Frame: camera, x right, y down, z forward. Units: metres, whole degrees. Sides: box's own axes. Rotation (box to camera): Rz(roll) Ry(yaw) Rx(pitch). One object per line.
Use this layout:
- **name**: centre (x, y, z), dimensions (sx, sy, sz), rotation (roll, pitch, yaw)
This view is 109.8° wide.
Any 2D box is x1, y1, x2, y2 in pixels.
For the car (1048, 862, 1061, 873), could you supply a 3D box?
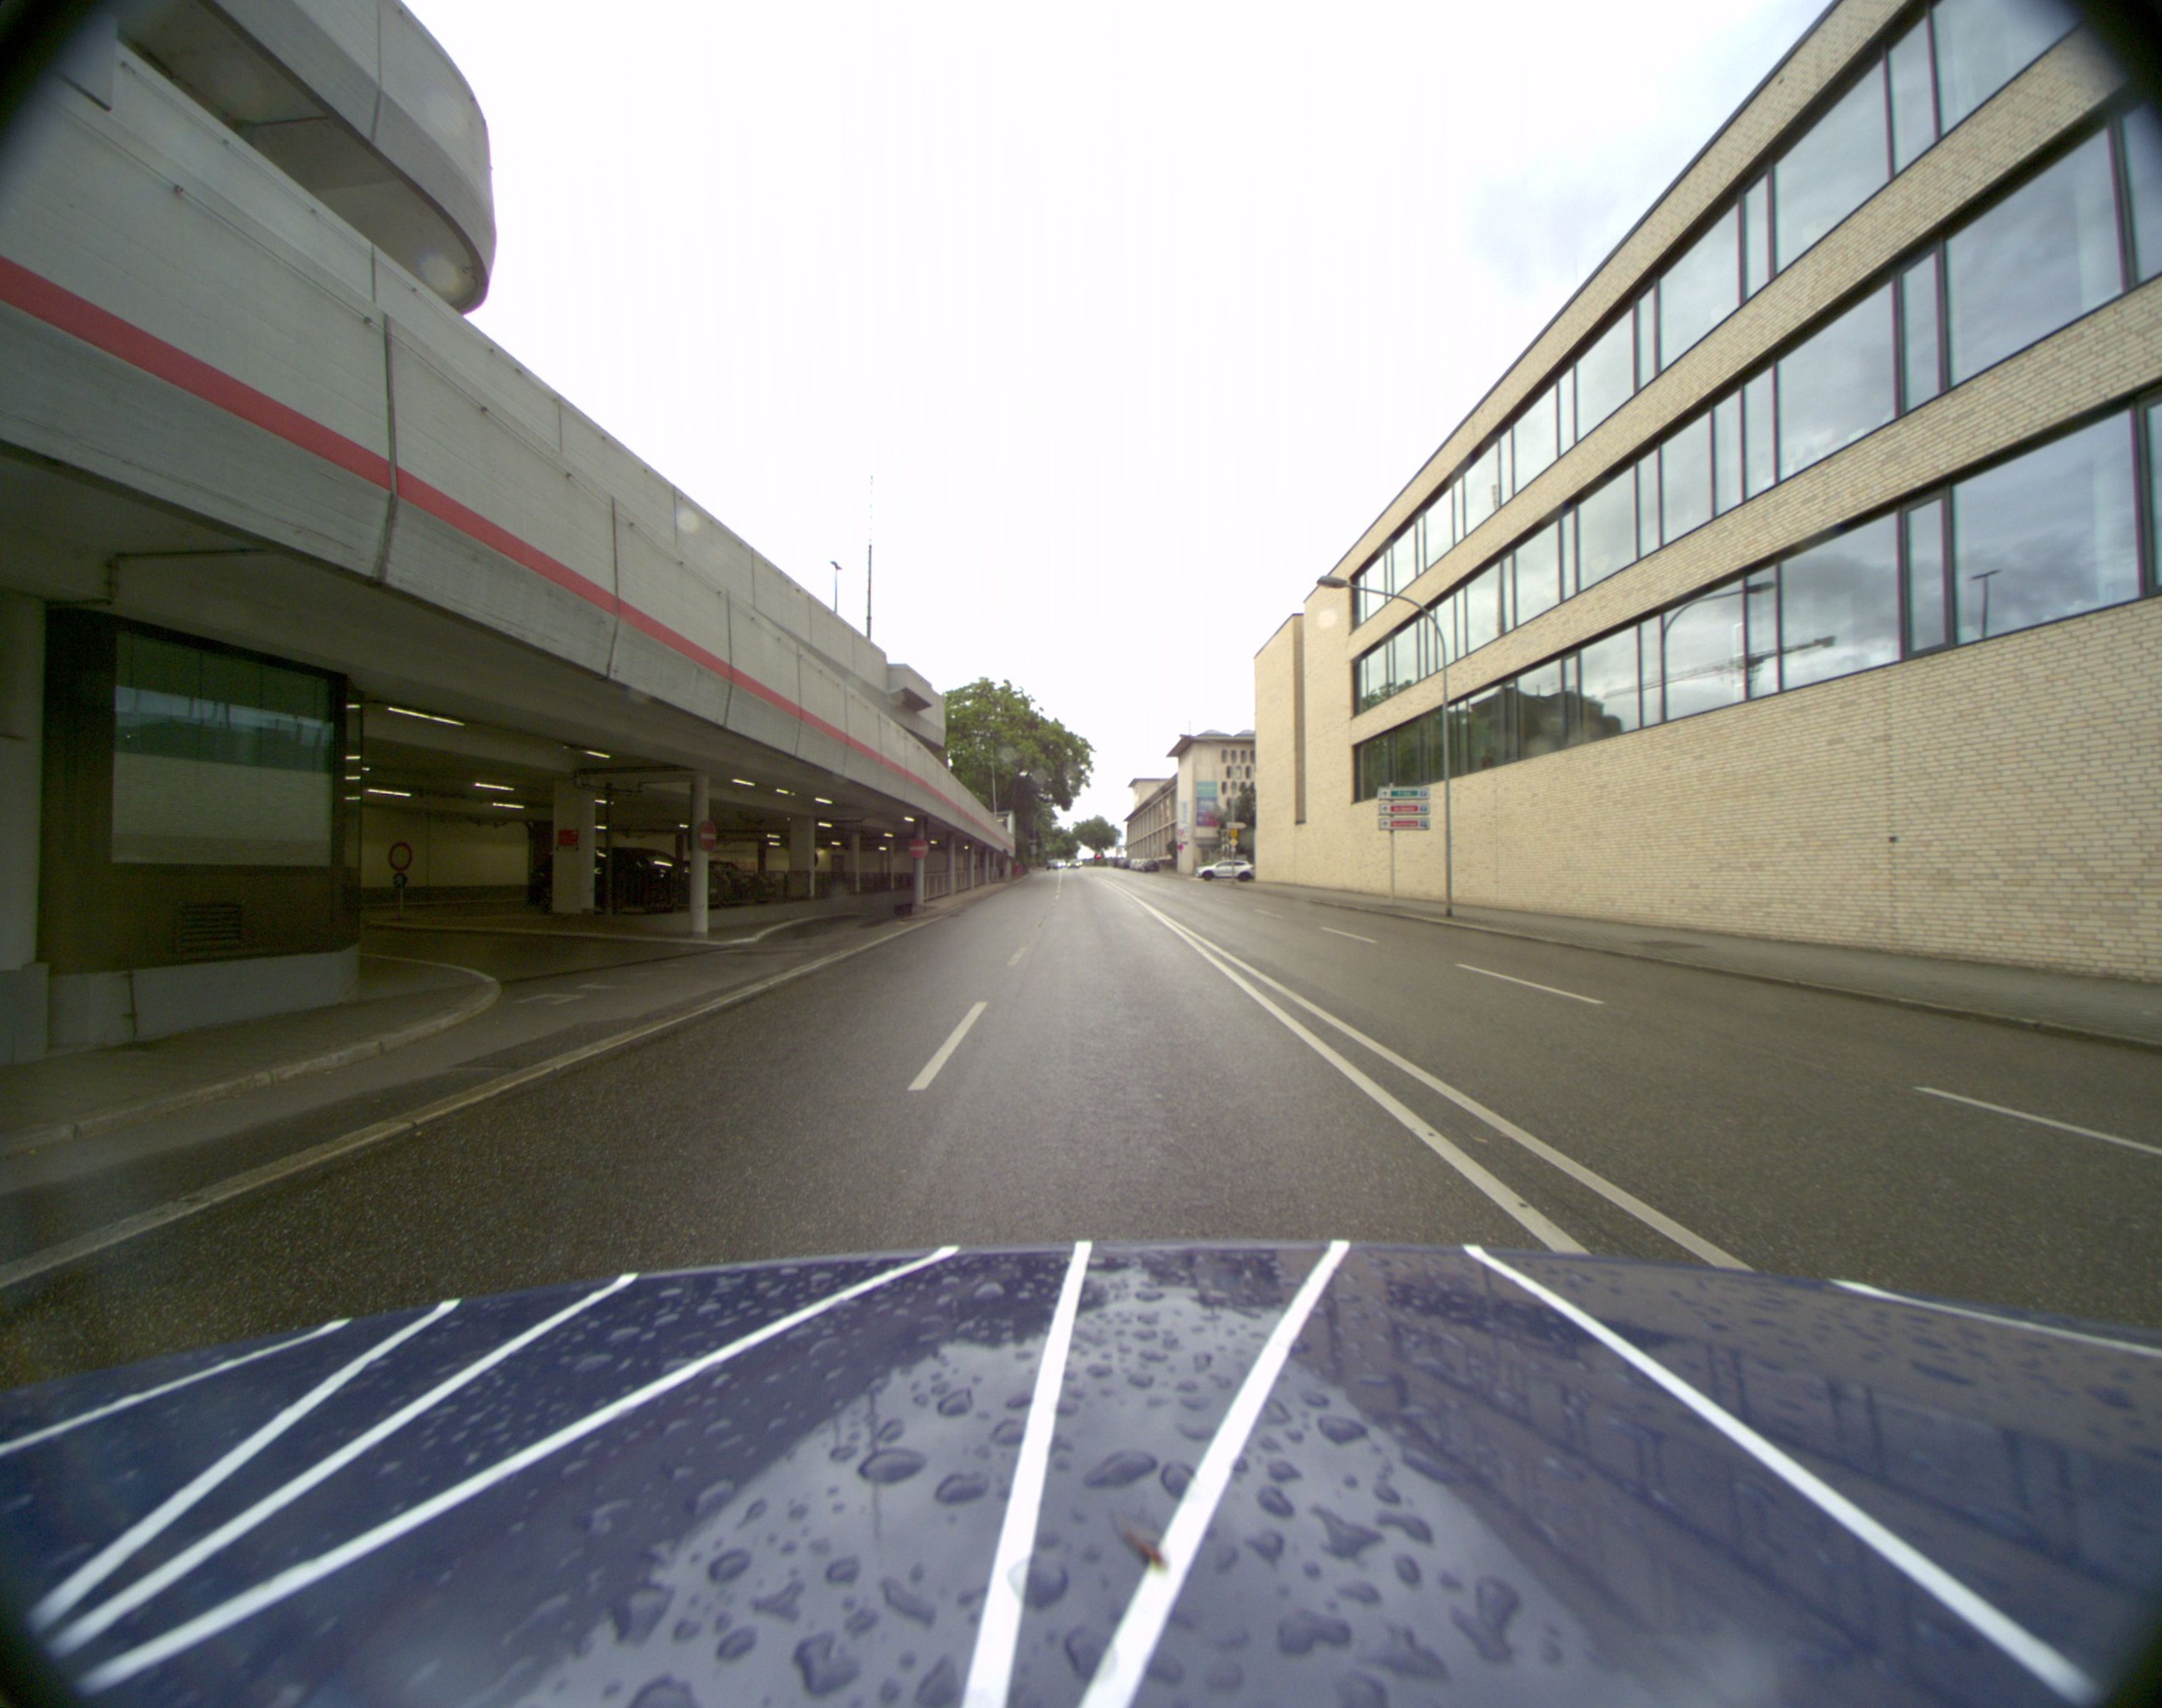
- **car**: centre (-3.884, 1.974, 111.344), dimensions (1.683, 1.516, 3.990), rotation (-2, -1, 1)

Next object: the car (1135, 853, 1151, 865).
- **car**: centre (8.272, 0.625, 101.642), dimensions (1.800, 1.516, 4.056), rotation (-2, -1, 1)

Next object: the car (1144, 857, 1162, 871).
- **car**: centre (8.590, 1.195, 91.042), dimensions (1.800, 1.516, 4.056), rotation (-2, -1, 1)

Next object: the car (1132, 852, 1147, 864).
- **car**: centre (8.155, 0.573, 106.720), dimensions (1.800, 1.516, 4.056), rotation (-2, -1, 1)

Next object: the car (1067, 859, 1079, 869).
- **car**: centre (-1.245, 1.556, 122.450), dimensions (1.852, 1.516, 3.990), rotation (-2, -1, 1)

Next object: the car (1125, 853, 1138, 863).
- **car**: centre (8.114, 0.662, 121.761), dimensions (1.800, 1.516, 4.056), rotation (-2, -1, 1)

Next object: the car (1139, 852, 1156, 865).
- **car**: centre (8.384, 0.541, 96.504), dimensions (1.800, 1.516, 4.056), rotation (-2, -1, 1)

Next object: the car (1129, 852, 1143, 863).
- **car**: centre (8.142, 0.507, 112.724), dimensions (1.800, 1.516, 4.056), rotation (-2, -1, 1)

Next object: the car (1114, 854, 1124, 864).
- **car**: centre (7.101, 0.955, 142.462), dimensions (1.698, 1.715, 3.756), rotation (-2, 1, 1)

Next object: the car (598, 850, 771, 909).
- **car**: centre (-11.917, 0.826, 22.998), dimensions (4.251, 1.650, 2.003), rotation (-1, -4, 10)

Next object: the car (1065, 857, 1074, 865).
- **car**: centre (-2.321, 1.496, 159.269), dimensions (1.727, 1.628, 3.999), rotation (-2, 1, 1)

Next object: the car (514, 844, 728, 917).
- **car**: centre (-11.386, 0.702, 18.974), dimensions (4.251, 1.650, 2.003), rotation (-1, -4, 10)

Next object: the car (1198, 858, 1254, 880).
- **car**: centre (10.878, 1.107, 57.189), dimensions (4.050, 1.516, 1.803), rotation (-2, 0, 9)
